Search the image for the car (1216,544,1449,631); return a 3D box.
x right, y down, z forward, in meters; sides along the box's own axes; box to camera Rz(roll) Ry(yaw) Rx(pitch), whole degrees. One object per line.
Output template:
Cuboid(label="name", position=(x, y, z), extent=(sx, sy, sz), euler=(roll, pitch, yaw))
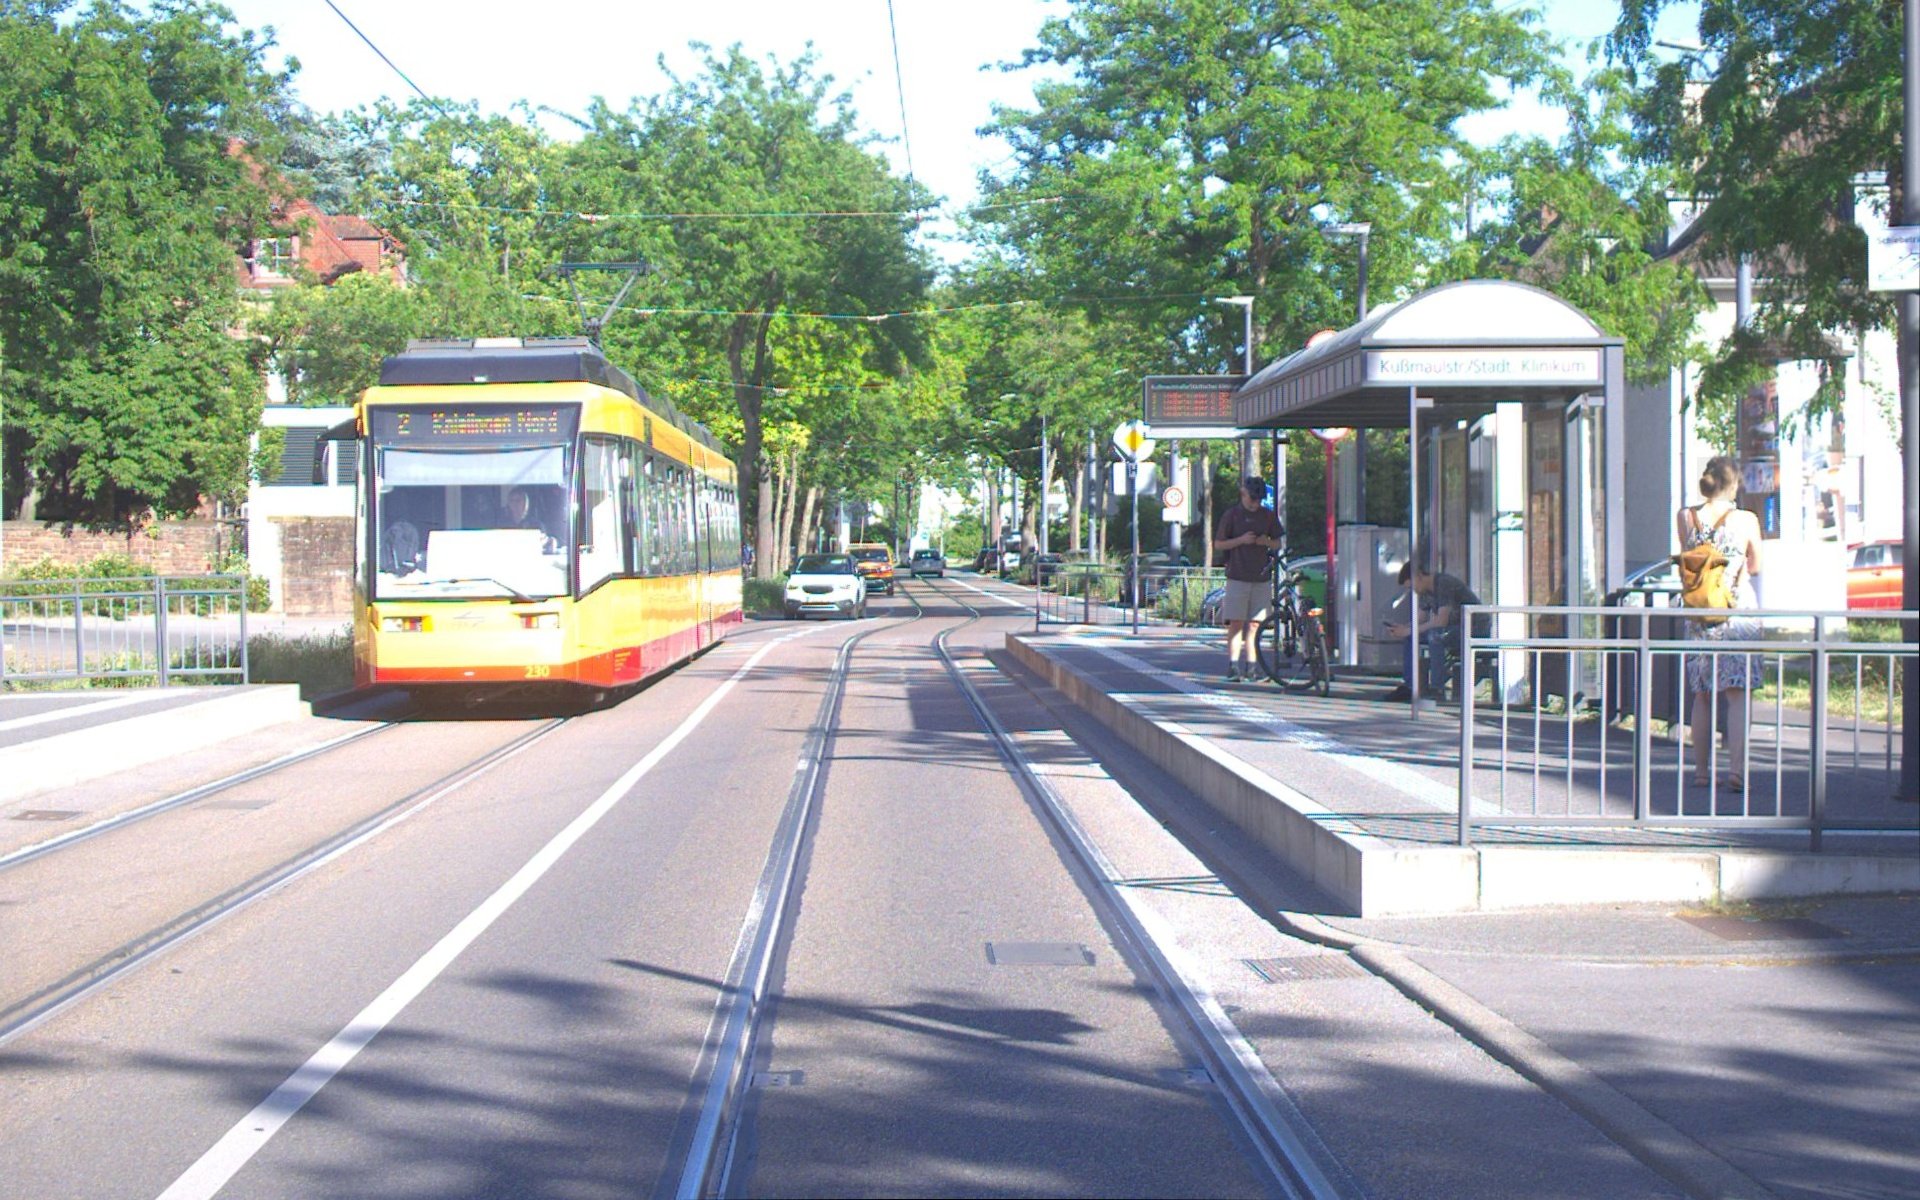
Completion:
Cuboid(label="car", position=(6.585, -0.237, 60.545), extent=(3.988, 1.503, 1.981), euler=(0, 1, 9))

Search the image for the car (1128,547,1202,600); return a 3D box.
Cuboid(label="car", position=(5.910, -0.783, 99.539), extent=(1.748, 1.490, 4.444), euler=(-1, 1, -1))

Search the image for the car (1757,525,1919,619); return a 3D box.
Cuboid(label="car", position=(16.506, -0.510, 61.088), extent=(4.162, 1.636, 1.982), euler=(0, 1, -3))

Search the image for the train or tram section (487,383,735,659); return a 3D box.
Cuboid(label="train or tram section", position=(-4.585, -1.047, 46.355), extent=(2.803, 3.448, 6.669), euler=(0, 1, -1))

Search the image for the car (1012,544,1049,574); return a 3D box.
Cuboid(label="car", position=(3.559, -2.065, 174.222), extent=(1.627, 1.393, 3.646), euler=(-3, 1, -2))

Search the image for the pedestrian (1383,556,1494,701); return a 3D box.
Cuboid(label="pedestrian", position=(3.775, 0.220, 27.156), extent=(0.738, 1.113, 0.658), euler=(1, 1, -2))

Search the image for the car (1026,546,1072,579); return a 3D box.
Cuboid(label="car", position=(4.267, -1.822, 164.776), extent=(1.784, 1.443, 4.302), euler=(-3, 1, -3))

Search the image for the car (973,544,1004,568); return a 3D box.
Cuboid(label="car", position=(2.014, -3.148, 245.332), extent=(2.003, 1.669, 4.392), euler=(-2, 1, 3))

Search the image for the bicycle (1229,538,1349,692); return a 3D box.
Cuboid(label="bicycle", position=(2.708, 0.105, 28.472), extent=(0.619, 1.225, 1.967), euler=(0, 1, -5))

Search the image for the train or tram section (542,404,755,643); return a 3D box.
Cuboid(label="train or tram section", position=(-4.704, -1.169, 53.035), extent=(2.803, 3.448, 6.669), euler=(0, 1, -1))

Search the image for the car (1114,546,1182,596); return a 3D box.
Cuboid(label="car", position=(5.773, -0.905, 105.845), extent=(1.748, 1.490, 3.997), euler=(-1, 1, -1))

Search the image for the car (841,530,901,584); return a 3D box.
Cuboid(label="car", position=(-3.328, -1.620, 127.750), extent=(1.993, 1.959, 4.935), euler=(0, 1, -4))

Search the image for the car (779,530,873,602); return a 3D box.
Cuboid(label="car", position=(-3.175, -0.832, 82.173), extent=(1.765, 1.658, 4.209), euler=(0, 1, 4))

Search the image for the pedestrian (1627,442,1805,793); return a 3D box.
Cuboid(label="pedestrian", position=(3.753, 0.079, 17.105), extent=(0.671, 1.698, 0.691), euler=(1, 1, -2))

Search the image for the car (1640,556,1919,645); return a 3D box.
Cuboid(label="car", position=(13.998, 0.026, 58.758), extent=(4.605, 1.461, 1.981), euler=(0, -1, 10))

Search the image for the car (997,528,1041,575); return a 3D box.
Cuboid(label="car", position=(3.336, -2.751, 195.633), extent=(2.245, 2.645, 5.586), euler=(0, 1, -2))

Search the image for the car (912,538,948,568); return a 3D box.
Cuboid(label="car", position=(-1.729, -2.742, 199.097), extent=(1.866, 1.669, 4.173), euler=(-1, 1, 2))

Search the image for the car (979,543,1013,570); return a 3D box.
Cuboid(label="car", position=(2.383, -2.896, 227.843), extent=(2.003, 1.669, 4.393), euler=(-2, 1, -2))

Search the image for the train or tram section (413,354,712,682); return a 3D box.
Cuboid(label="train or tram section", position=(-4.440, -0.926, 39.664), extent=(2.803, 3.448, 6.669), euler=(0, 1, -1))

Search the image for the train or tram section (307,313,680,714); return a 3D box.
Cuboid(label="train or tram section", position=(-4.295, -0.805, 32.969), extent=(2.803, 3.448, 6.669), euler=(0, 1, -1))

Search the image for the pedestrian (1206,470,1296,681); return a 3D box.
Cuboid(label="pedestrian", position=(2.599, -0.222, 30.796), extent=(0.711, 1.847, 0.729), euler=(1, 1, 0))
